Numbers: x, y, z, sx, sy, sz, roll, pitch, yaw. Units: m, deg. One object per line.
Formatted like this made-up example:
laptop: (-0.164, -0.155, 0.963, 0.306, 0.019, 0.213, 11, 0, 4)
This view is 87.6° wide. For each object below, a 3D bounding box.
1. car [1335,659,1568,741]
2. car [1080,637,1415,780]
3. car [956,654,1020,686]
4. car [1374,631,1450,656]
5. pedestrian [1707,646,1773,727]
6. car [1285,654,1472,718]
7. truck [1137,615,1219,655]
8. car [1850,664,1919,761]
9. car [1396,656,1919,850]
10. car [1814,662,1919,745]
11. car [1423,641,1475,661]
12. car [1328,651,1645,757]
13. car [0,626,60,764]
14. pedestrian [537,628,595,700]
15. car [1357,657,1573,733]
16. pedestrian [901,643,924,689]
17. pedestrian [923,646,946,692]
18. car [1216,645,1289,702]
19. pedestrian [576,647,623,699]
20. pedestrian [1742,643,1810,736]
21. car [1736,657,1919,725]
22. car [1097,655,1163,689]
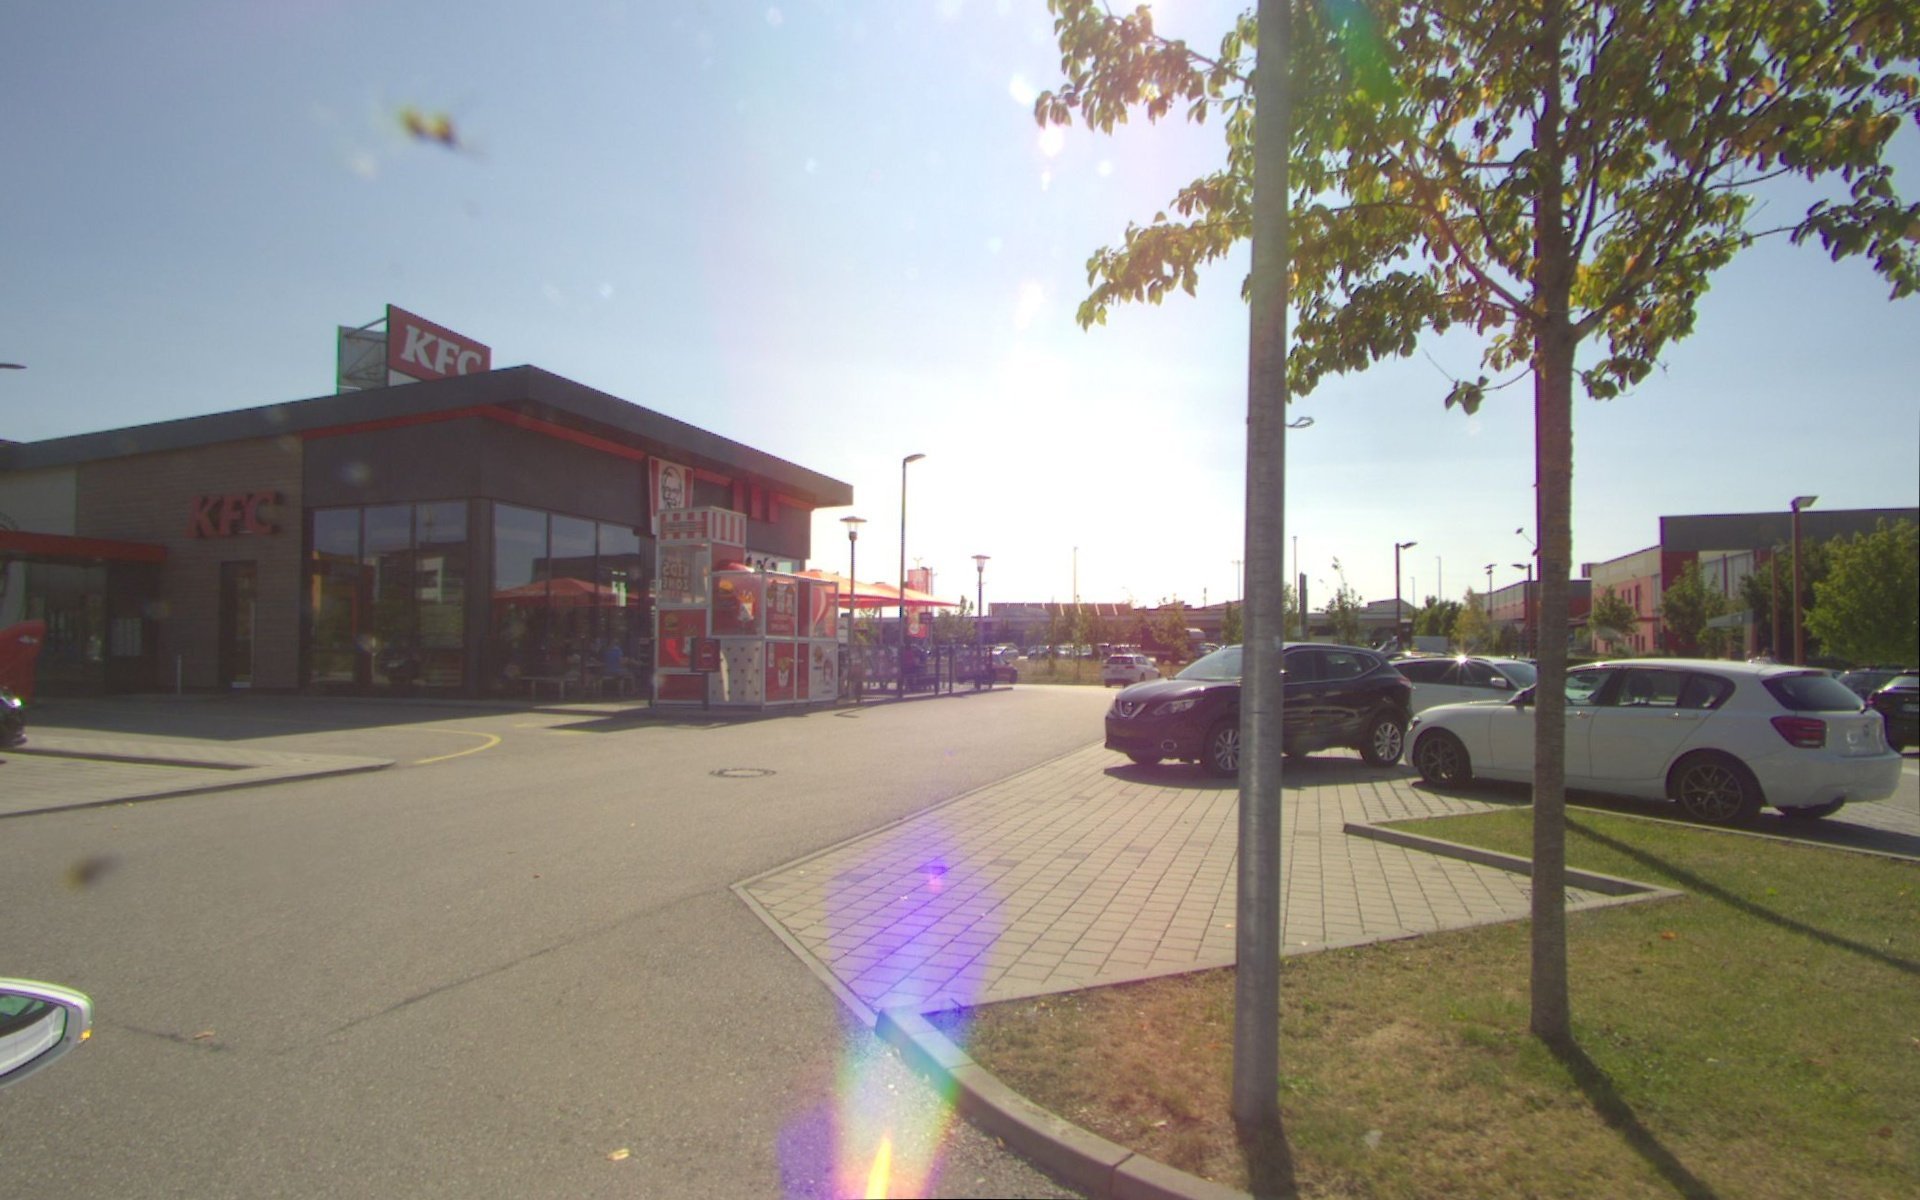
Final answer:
car: (9.788, 1.948, 20.266, 1.793, 1.420, 3.985, 2, -3, -27)
car: (3.724, 1.320, 12.886, 4.024, 1.596, 1.751, 2, -3, -26)
car: (1.399, 3.387, 48.684, 1.661, 1.472, 3.744, 0, -3, 27)
car: (43.094, 4.176, 95.713, 6.456, 2.272, 2.298, 0, -3, 19)
pedestrian: (19.027, 2.093, 24.450, 0.902, 1.940, 0.902, 1, -2, -15)
car: (11.117, 2.244, 26.833, 1.759, 1.530, 4.318, 3, -3, -39)
truck: (19.668, 3.159, 90.763, 2.394, 3.394, 7.511, 2, -2, -36)
car: (17.409, 1.885, 16.920, 4.348, 1.530, 1.977, 2, -3, -25)
car: (6.729, 1.315, 10.009, 1.817, 1.443, 4.169, 2, -3, -27)
car: (19.768, 2.061, 20.394, 4.348, 1.530, 1.977, 2, -3, -25)
car: (44.507, 4.616, 91.235, 3.927, 1.749, 1.893, 0, -2, 16)
car: (8.626, 1.633, 16.867, 1.887, 1.490, 4.452, 2, -3, -29)
car: (-11.418, 0.914, 9.328, 1.668, 1.459, 4.210, 0, -3, 19)
pedestrian: (-8.141, 1.316, 20.712, 0.758, 1.453, 0.799, 1, -1, 17)
car: (11.251, 2.063, 22.535, 1.799, 1.507, 3.973, 3, -3, -36)
pedestrian: (-1.343, 1.861, 28.221, 0.584, 1.285, 0.686, 1, -2, -6)
pedestrian: (-0.733, 1.950, 28.329, 0.584, 1.285, 0.686, 1, -2, -6)
car: (9.842, 2.414, 33.525, 2.036, 1.771, 4.361, 0, -3, 20)
pedestrian: (-7.761, 1.553, 21.581, 0.617, 1.085, 0.717, 1, -2, 17)
pedestrian: (17.654, 1.914, 21.688, 1.014, 1.940, 0.898, 0, -2, 32)
car: (20.096, 2.094, 23.201, 3.841, 1.444, 1.702, 2, -3, -23)
car: (7.711, 3.220, 45.125, 1.858, 1.415, 4.144, 0, -3, 25)
